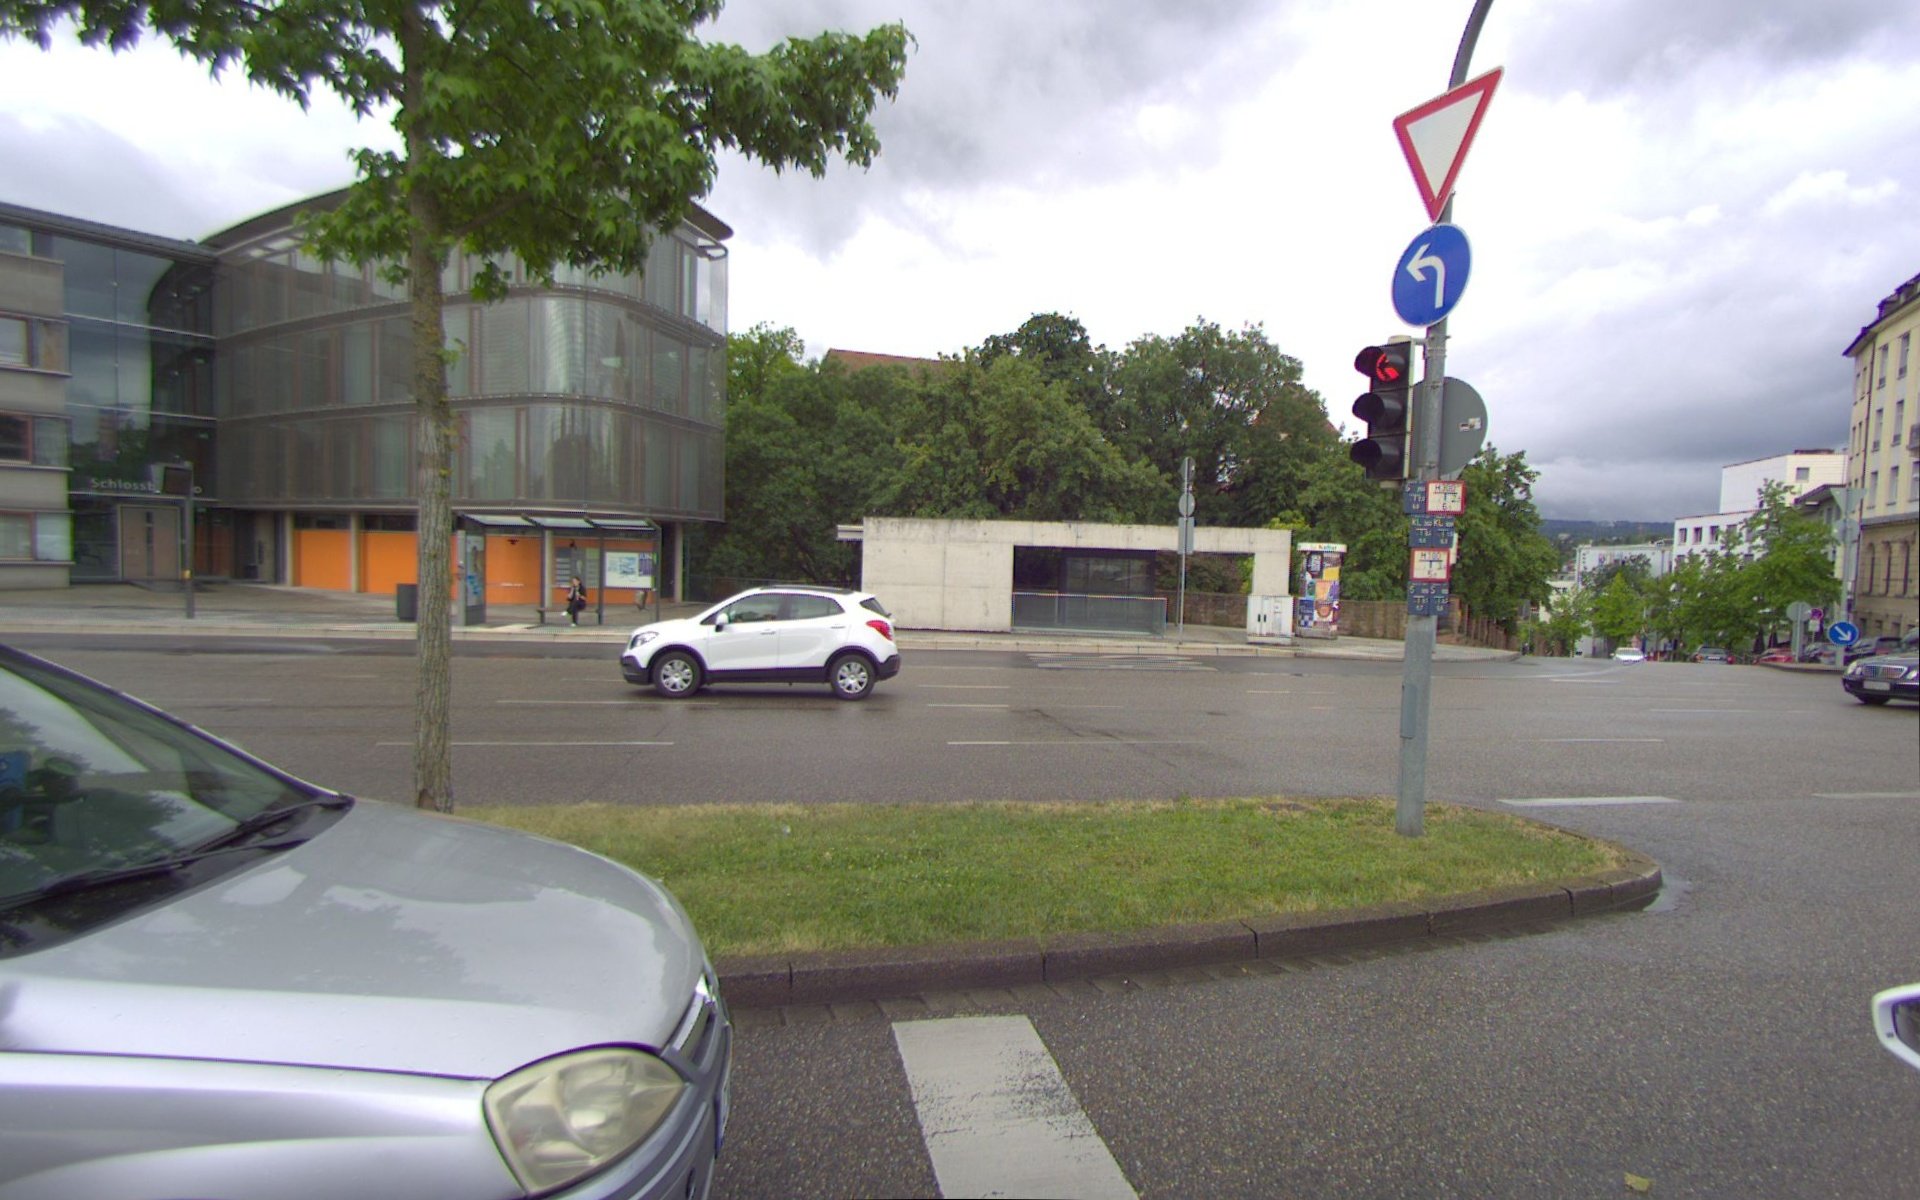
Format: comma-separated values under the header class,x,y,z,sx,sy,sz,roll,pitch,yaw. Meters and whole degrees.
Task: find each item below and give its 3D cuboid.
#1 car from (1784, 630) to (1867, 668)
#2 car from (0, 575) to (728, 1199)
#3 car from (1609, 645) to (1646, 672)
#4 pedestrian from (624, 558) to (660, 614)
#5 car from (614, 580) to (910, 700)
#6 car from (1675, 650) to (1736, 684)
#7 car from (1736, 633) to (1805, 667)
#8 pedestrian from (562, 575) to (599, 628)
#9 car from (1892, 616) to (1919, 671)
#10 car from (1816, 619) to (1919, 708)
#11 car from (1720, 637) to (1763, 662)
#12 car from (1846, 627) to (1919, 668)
class,x,y,z,sx,sy,sz,roll,pitch,yaw
car,38.447,2.160,44.725,1.737,1.498,3.997,1,0,25
car,-2.331,0.683,1.769,3.655,1.485,1.696,2,0,-12
car,41.022,3.582,61.791,1.605,1.417,3.993,1,0,29
pedestrian,-10.498,-0.474,33.185,0.809,1.780,0.786,1,4,13
car,-2.945,0.591,15.365,4.133,1.639,1.958,2,0,-10
car,39.003,3.461,52.632,1.668,1.485,4.448,1,0,25
car,40.691,2.493,50.514,1.737,1.498,4.007,1,0,25
pedestrian,-9.654,0.037,25.573,0.706,1.316,0.668,1,0,-5
car,33.371,1.494,34.097,1.606,1.783,3.992,1,1,30
car,17.753,1.113,17.597,3.923,1.441,1.961,2,0,-4
car,52.295,3.287,67.248,1.739,1.498,3.991,1,0,31
car,36.604,1.847,39.679,1.606,1.417,3.992,1,1,30
